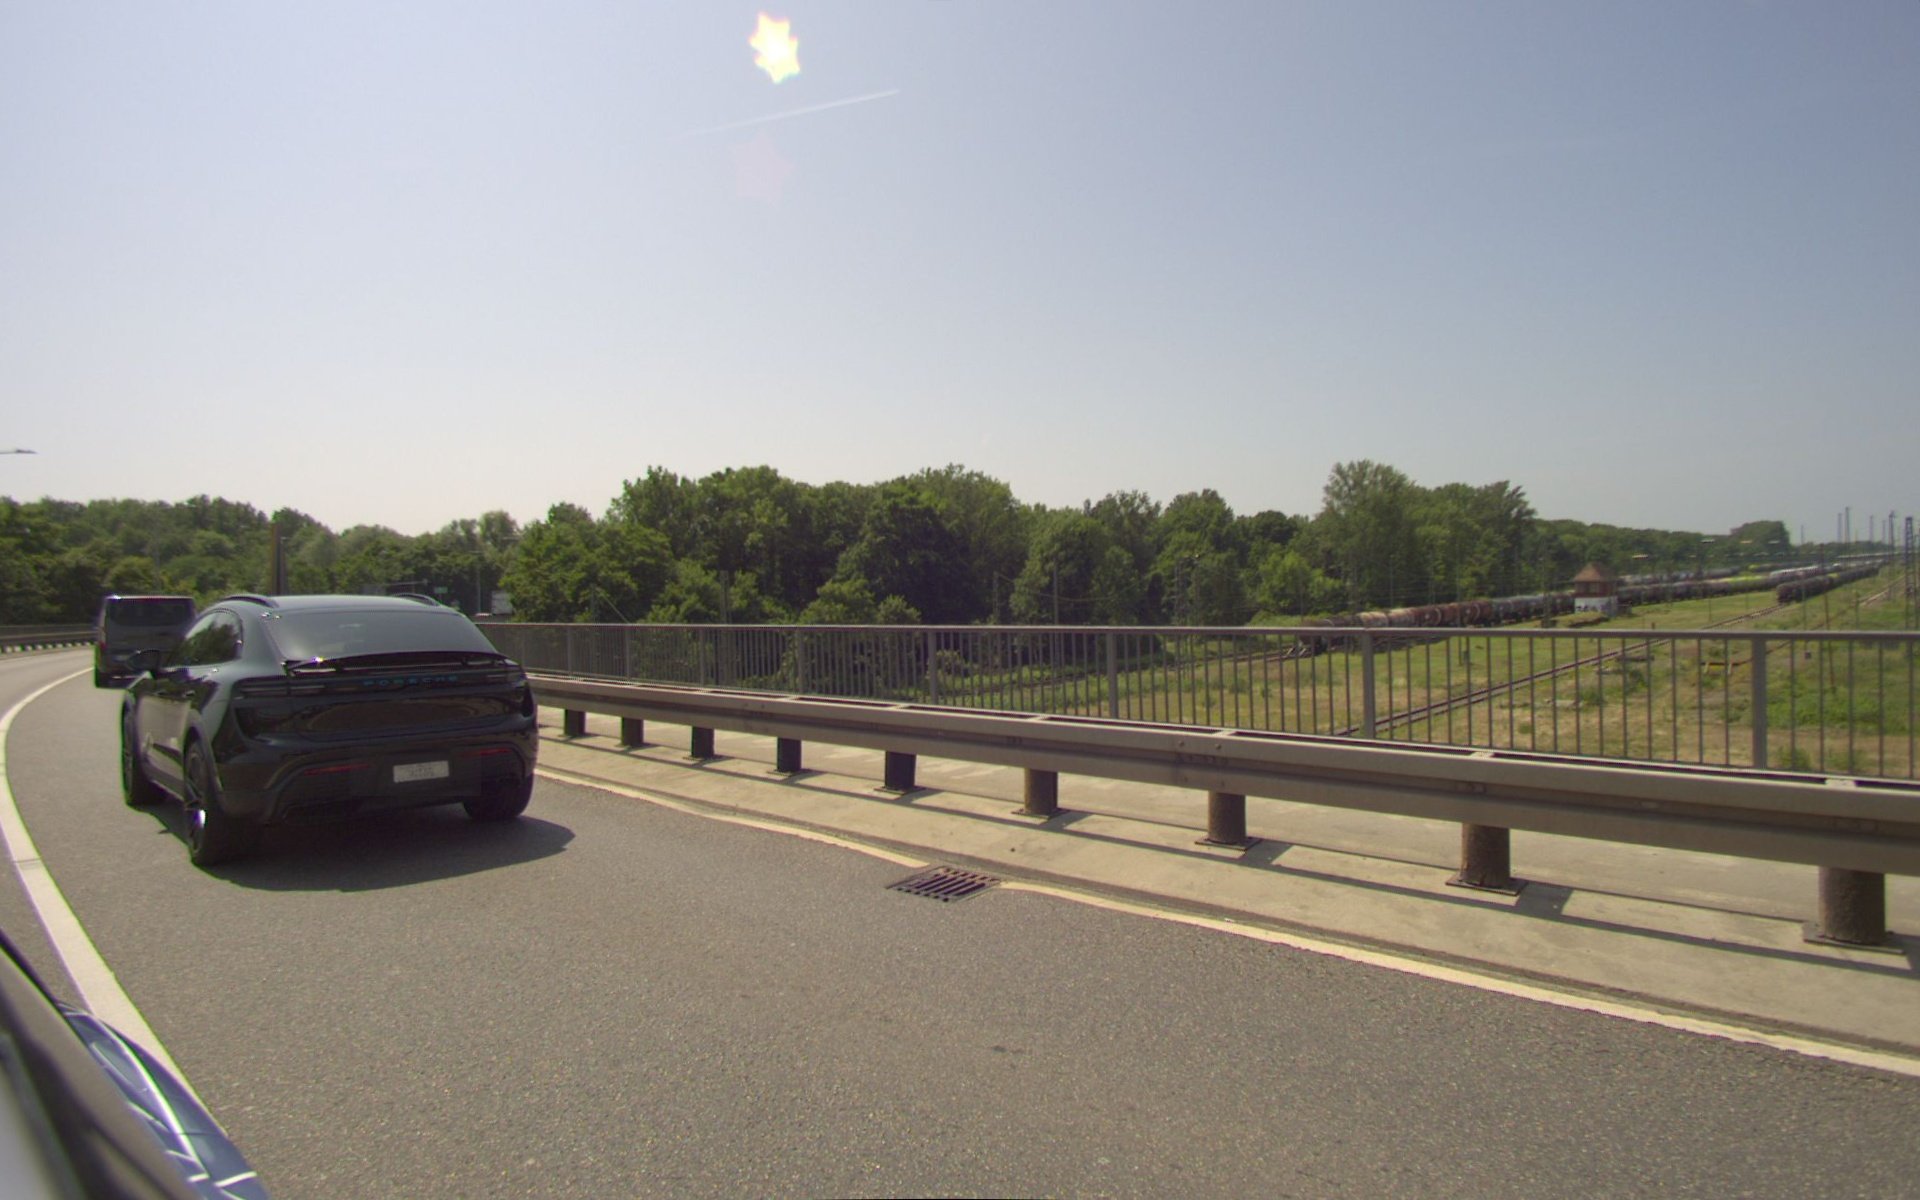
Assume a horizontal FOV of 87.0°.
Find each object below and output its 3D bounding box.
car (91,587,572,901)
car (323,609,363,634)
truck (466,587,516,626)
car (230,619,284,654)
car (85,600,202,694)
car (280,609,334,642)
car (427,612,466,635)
[{"bbox_3d":[-4.805,0.793,7.416,4.487,1.608,1.872,-2,-1,43],"label":"car"},{"bbox_3d":[-53.169,1.859,87.315,1.966,2.029,4.012,-1,-1,-17],"label":"car"},{"bbox_3d":[-48.747,0.728,105.372,2.674,4.022,6.190,0,-1,-3],"label":"truck"},{"bbox_3d":[-32.533,1.667,46.899,1.641,1.475,3.497,-1,-1,-29],"label":"car"},{"bbox_3d":[-19.477,1.015,24.103,1.982,1.973,5.279,0,-1,-40],"label":"car"},{"bbox_3d":[-37.270,1.440,57.822,1.879,1.780,4.013,-1,-1,-23],"label":"car"},{"bbox_3d":[-47.201,2.121,93.147,1.837,2.015,4.823,0,-1,-9],"label":"car"}]
